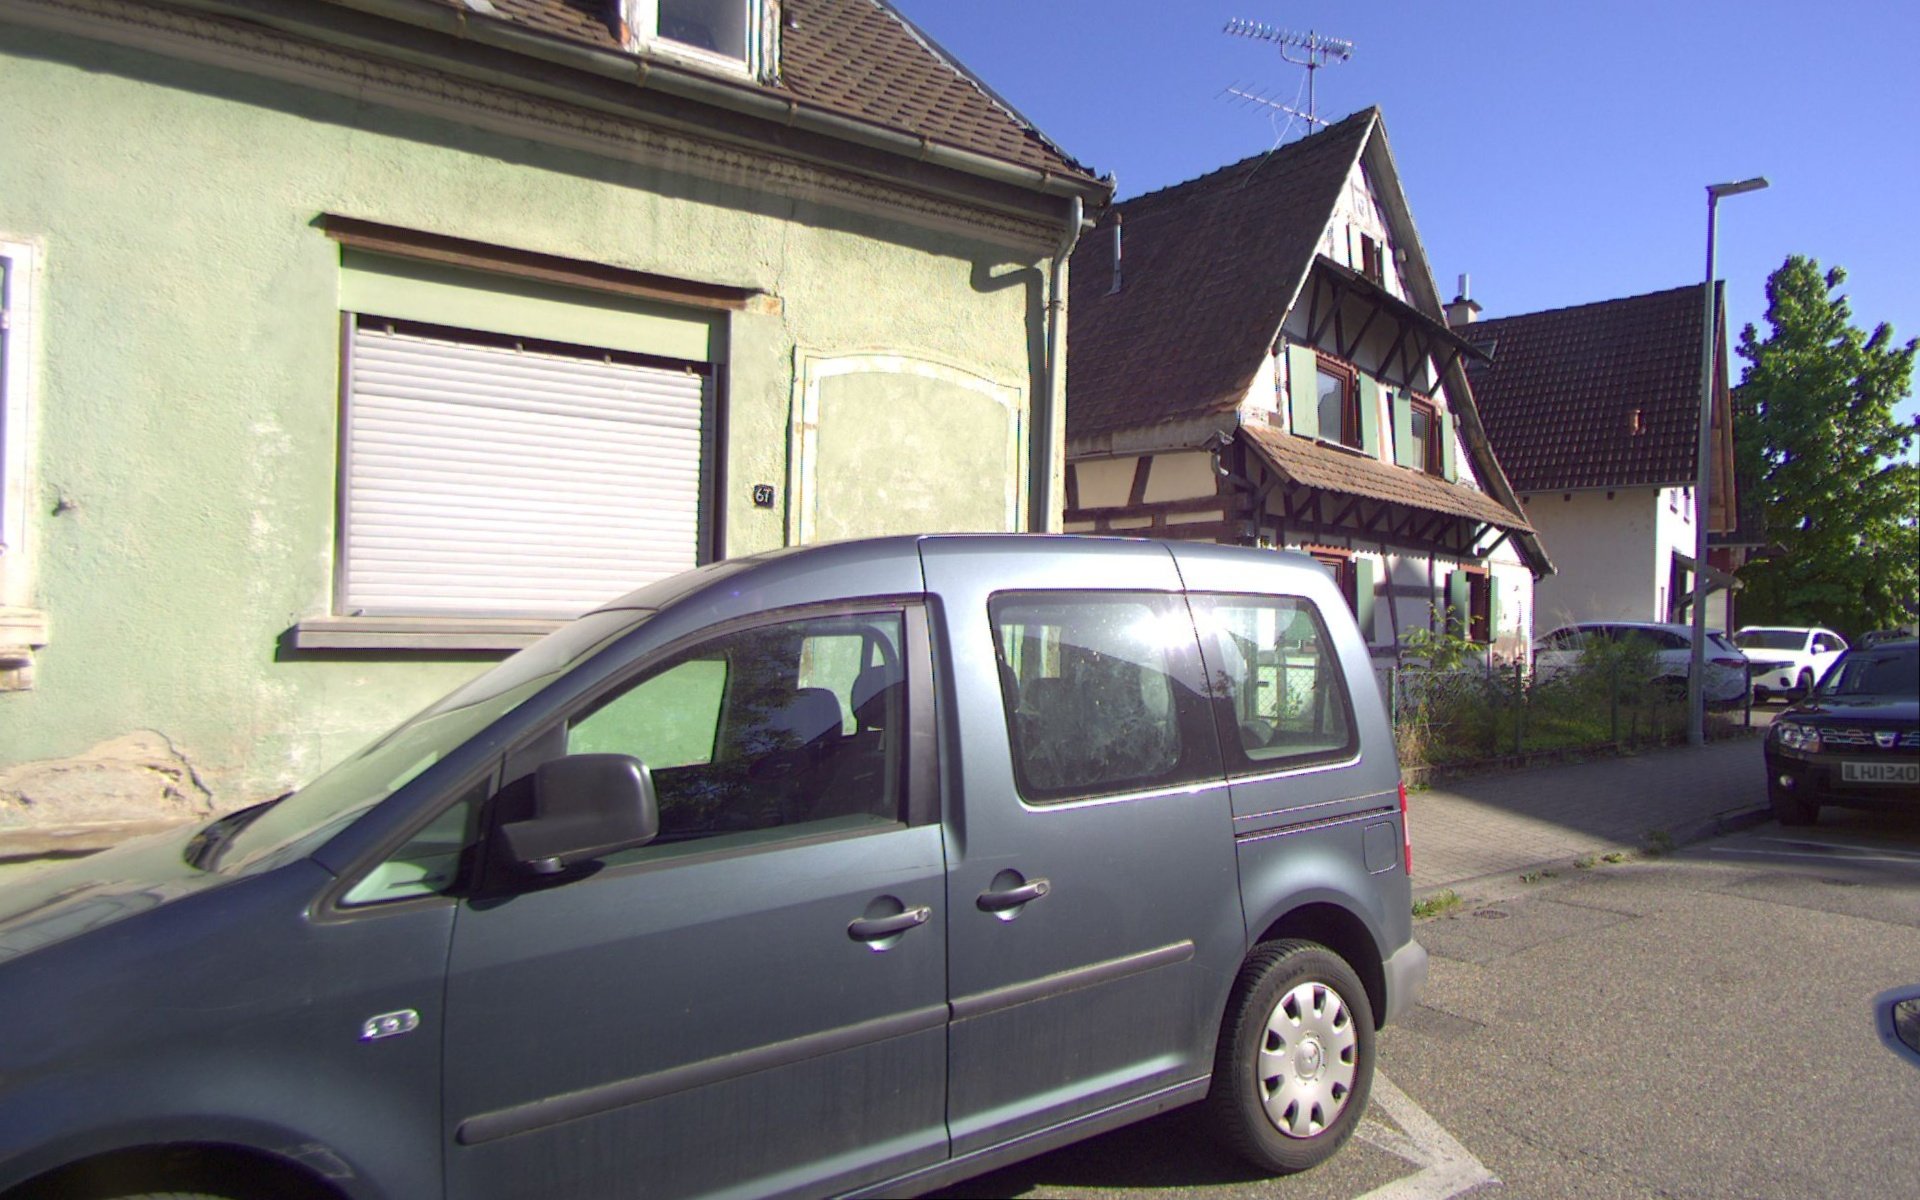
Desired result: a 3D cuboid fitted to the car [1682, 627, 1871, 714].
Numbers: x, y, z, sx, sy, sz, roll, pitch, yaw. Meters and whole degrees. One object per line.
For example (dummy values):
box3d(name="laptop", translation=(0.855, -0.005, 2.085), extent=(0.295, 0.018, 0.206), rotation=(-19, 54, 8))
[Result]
box3d(name="car", translation=(17.280, 1.430, 21.200), extent=(4.397, 1.617, 1.807), rotation=(2, -1, -33))

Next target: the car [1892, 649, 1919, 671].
box3d(name="car", translation=(65.613, 4.112, 69.261), extent=(3.865, 1.421, 1.655), rotation=(2, -3, -43))

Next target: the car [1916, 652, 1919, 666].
box3d(name="car", translation=(102.913, 6.271, 106.926), extent=(3.592, 1.462, 1.572), rotation=(3, -2, -45))

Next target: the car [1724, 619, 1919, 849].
box3d(name="car", translation=(8.658, 1.077, 8.899), extent=(4.311, 1.692, 1.820), rotation=(2, -5, -36))

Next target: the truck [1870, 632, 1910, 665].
box3d(name="truck", translation=(86.091, 4.541, 92.960), extent=(5.740, 2.906, 2.247), rotation=(4, -2, -42))

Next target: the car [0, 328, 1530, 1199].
box3d(name="car", translation=(-0.474, 0.588, 3.006), extent=(4.301, 1.813, 1.824), rotation=(1, -4, -30))

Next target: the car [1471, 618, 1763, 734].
box3d(name="car", translation=(11.116, 1.184, 17.107), extent=(3.940, 1.610, 1.991), rotation=(2, 0, 40))
